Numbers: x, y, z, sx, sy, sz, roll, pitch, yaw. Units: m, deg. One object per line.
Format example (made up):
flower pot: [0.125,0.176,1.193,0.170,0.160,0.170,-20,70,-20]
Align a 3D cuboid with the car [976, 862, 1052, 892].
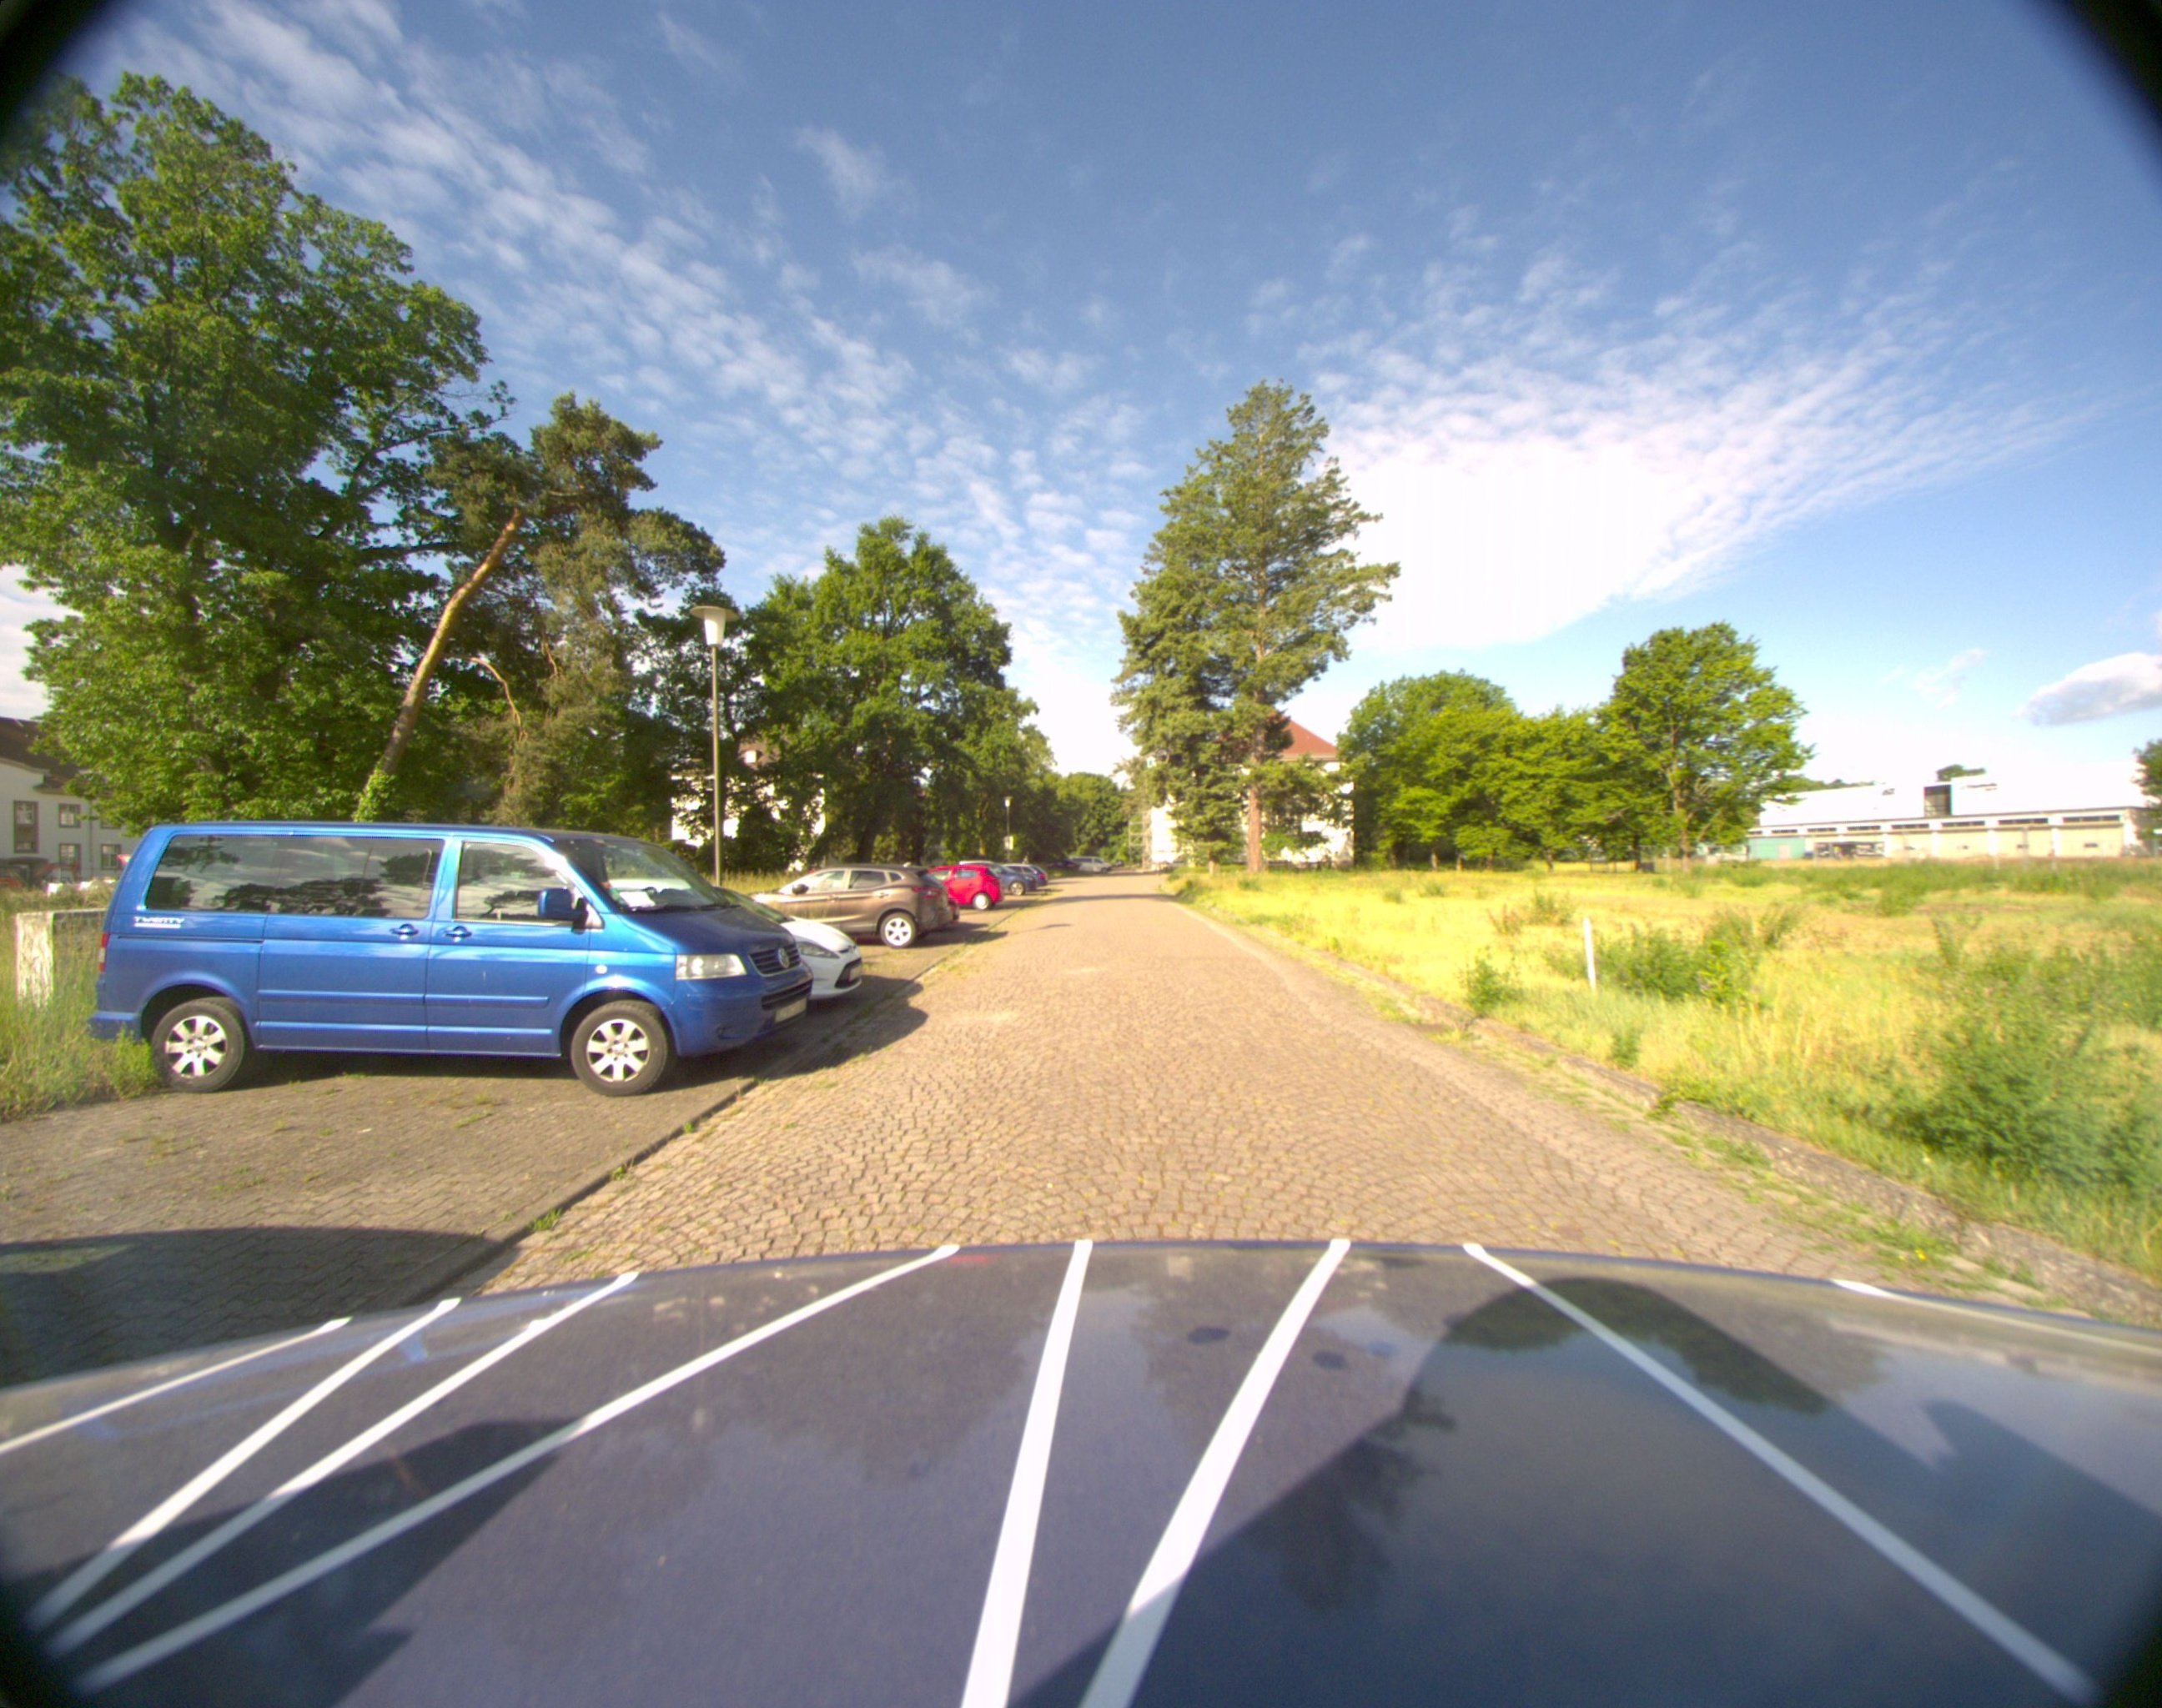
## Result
car: [-3.508,1.201,40.324,3.808,1.458,1.747,-1,0,2]

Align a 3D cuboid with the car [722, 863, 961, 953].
car: [-4.589,1.008,15.006,4.117,1.601,1.786,-1,0,0]

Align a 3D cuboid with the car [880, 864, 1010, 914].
car: [-4.471,1.150,25.274,3.997,1.486,1.540,-1,0,1]

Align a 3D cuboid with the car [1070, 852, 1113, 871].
car: [1.217,0.892,89.054,4.993,2.123,2.165,-1,0,-1]

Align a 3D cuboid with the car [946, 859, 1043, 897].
car: [-3.989,1.106,35.555,4.273,1.589,1.651,-1,0,1]

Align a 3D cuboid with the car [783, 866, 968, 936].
car: [-4.718,1.077,17.813,3.834,1.530,1.703,0,0,2]

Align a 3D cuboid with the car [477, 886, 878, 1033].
car: [-4.409,1.135,8.711,3.729,1.458,1.610,0,0,-1]

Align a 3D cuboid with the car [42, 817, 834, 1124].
car: [-4.736,0.779,6.162,4.765,2.002,2.000,1,0,2]

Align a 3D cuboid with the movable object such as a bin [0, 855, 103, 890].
movable object such as a bin: [-88.447,1.525,65.191,2.177,2.884,5.076,-1,0,8]
